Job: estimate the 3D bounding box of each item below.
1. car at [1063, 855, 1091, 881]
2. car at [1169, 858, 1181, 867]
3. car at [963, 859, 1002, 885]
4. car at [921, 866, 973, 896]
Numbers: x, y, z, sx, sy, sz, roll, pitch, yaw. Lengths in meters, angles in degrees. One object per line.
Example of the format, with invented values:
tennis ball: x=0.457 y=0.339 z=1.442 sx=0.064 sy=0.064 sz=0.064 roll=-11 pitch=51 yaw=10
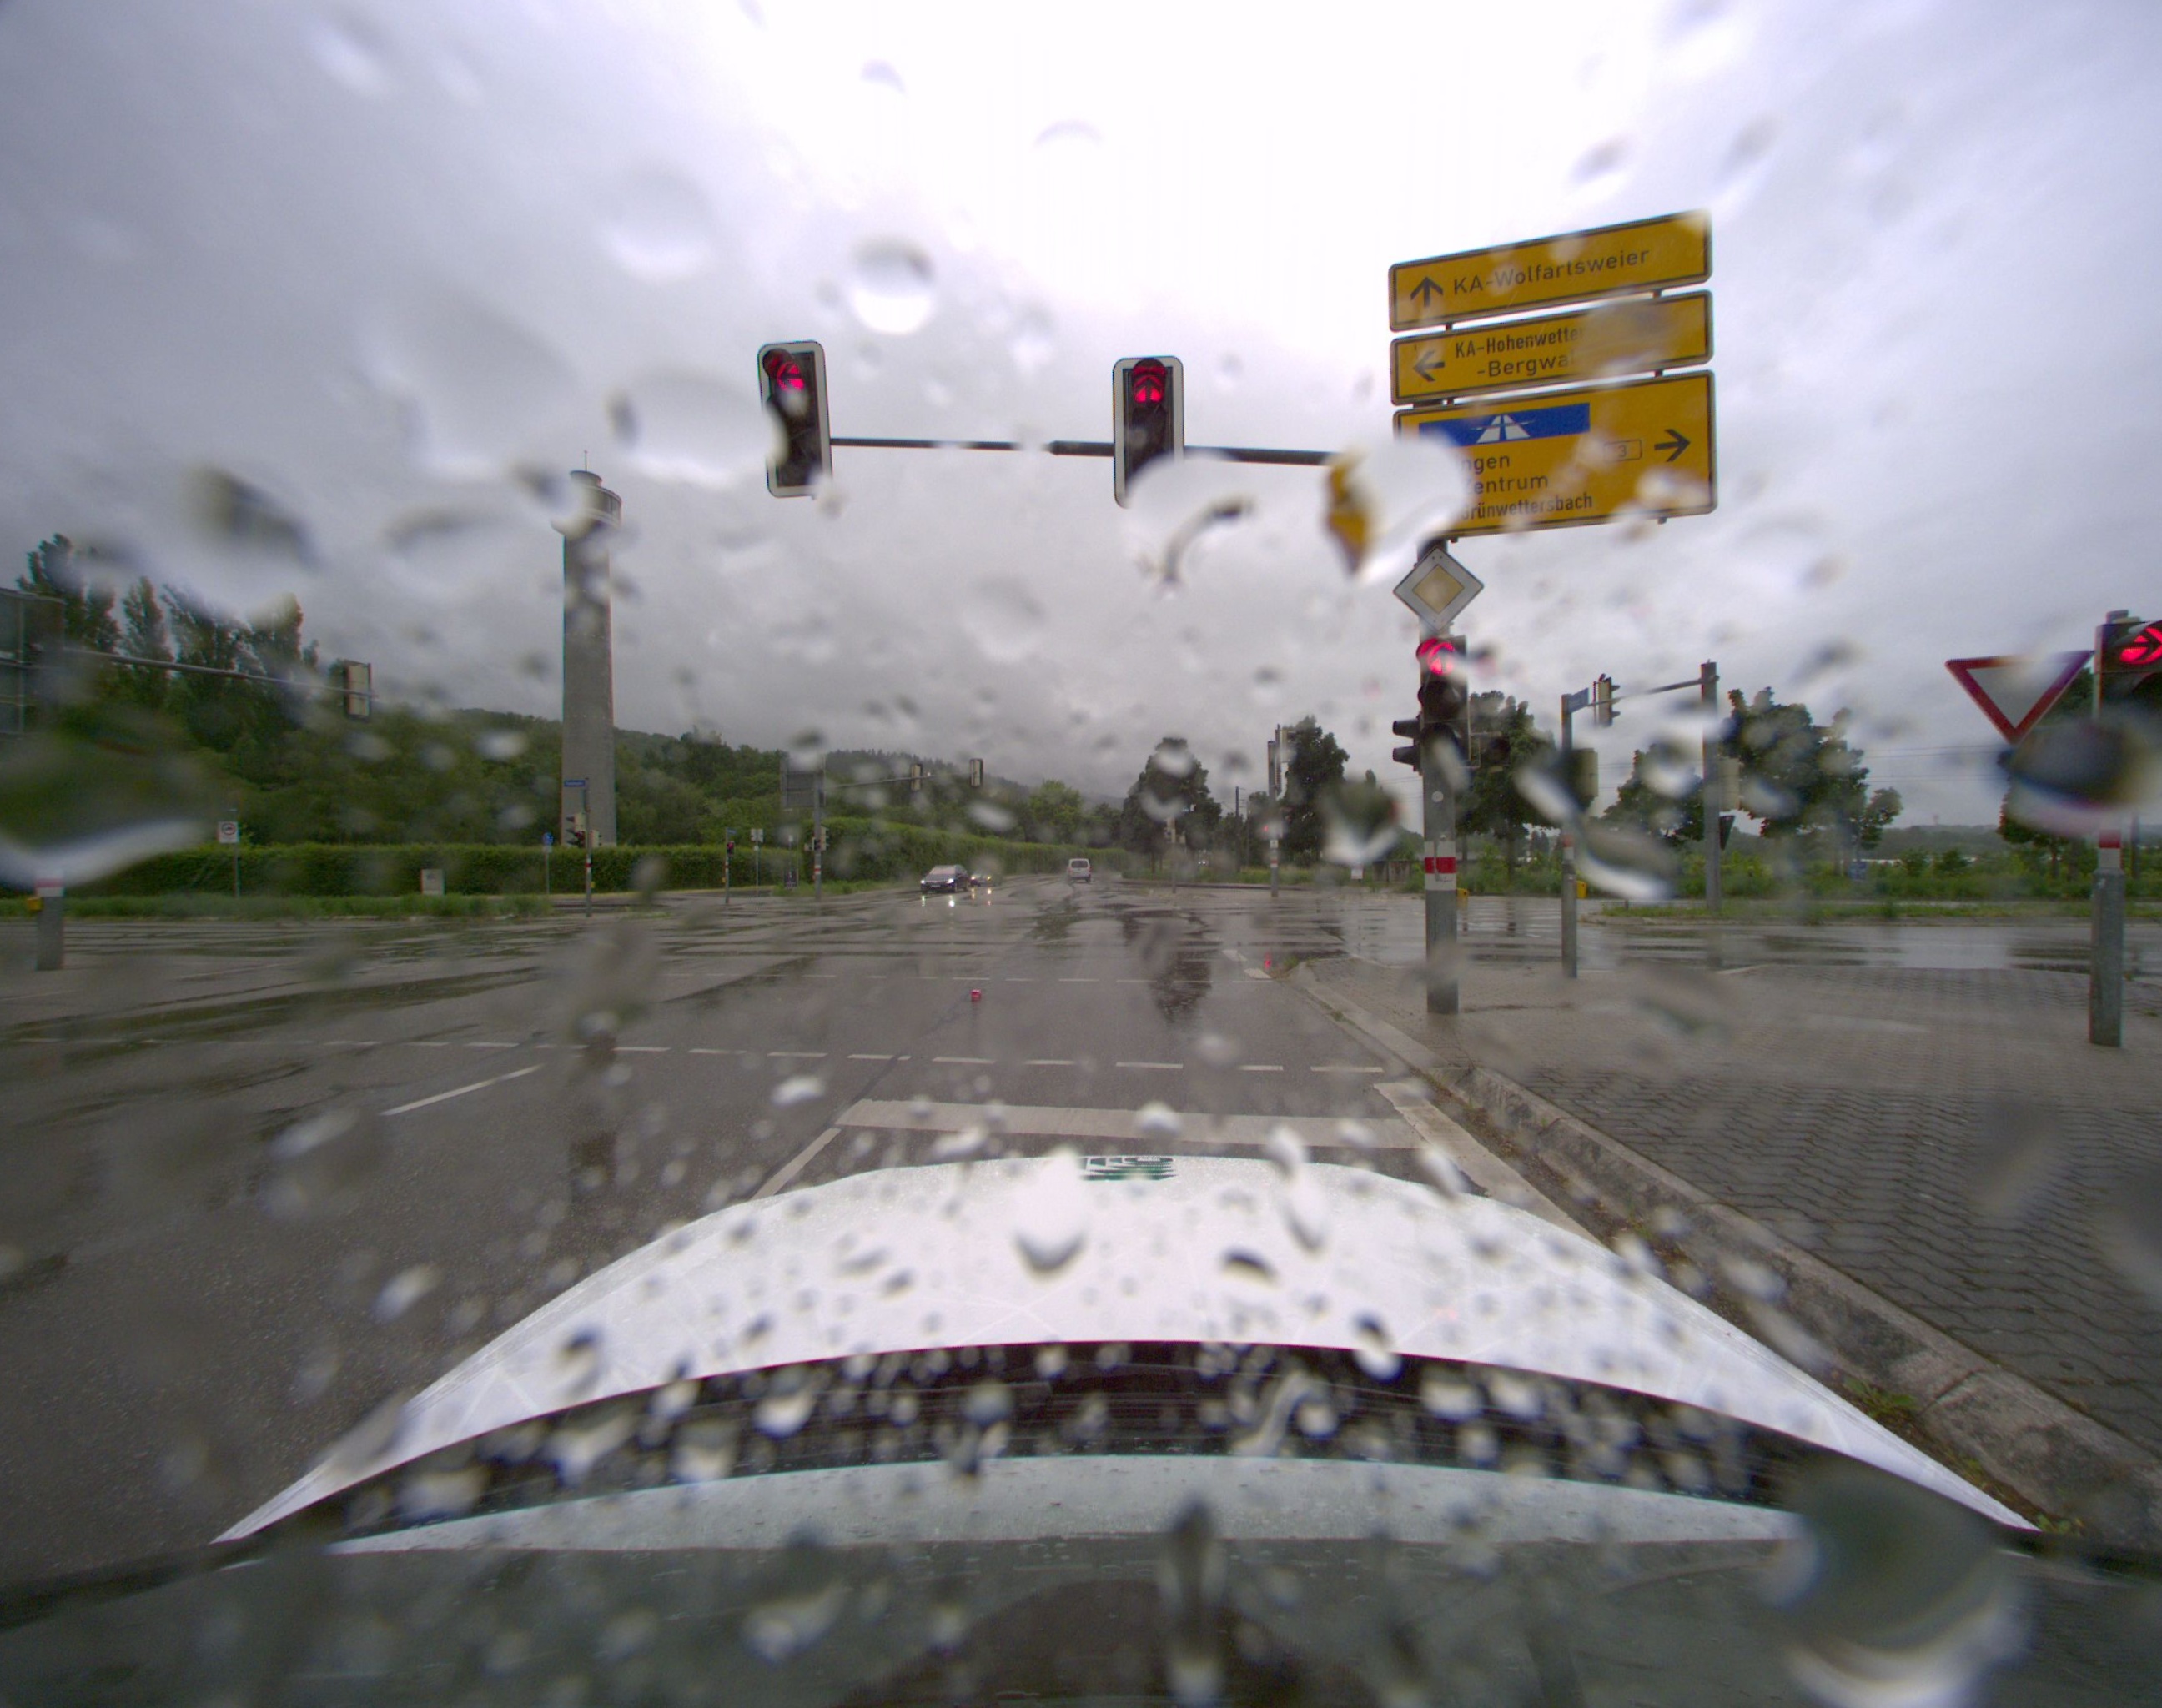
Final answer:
car: x=-0.341 y=1.079 z=64.617 sx=1.950 sy=1.904 sz=4.113 roll=-1 pitch=0 yaw=-5
car: x=21.071 y=1.827 z=181.637 sx=1.917 sy=1.890 sz=4.079 roll=-1 pitch=0 yaw=16
car: x=-6.655 y=1.195 z=55.698 sx=2.029 sy=1.708 sz=4.067 roll=-1 pitch=0 yaw=2
car: x=-7.143 y=1.396 z=43.835 sx=1.700 sy=1.466 sz=4.459 roll=-1 pitch=0 yaw=5
